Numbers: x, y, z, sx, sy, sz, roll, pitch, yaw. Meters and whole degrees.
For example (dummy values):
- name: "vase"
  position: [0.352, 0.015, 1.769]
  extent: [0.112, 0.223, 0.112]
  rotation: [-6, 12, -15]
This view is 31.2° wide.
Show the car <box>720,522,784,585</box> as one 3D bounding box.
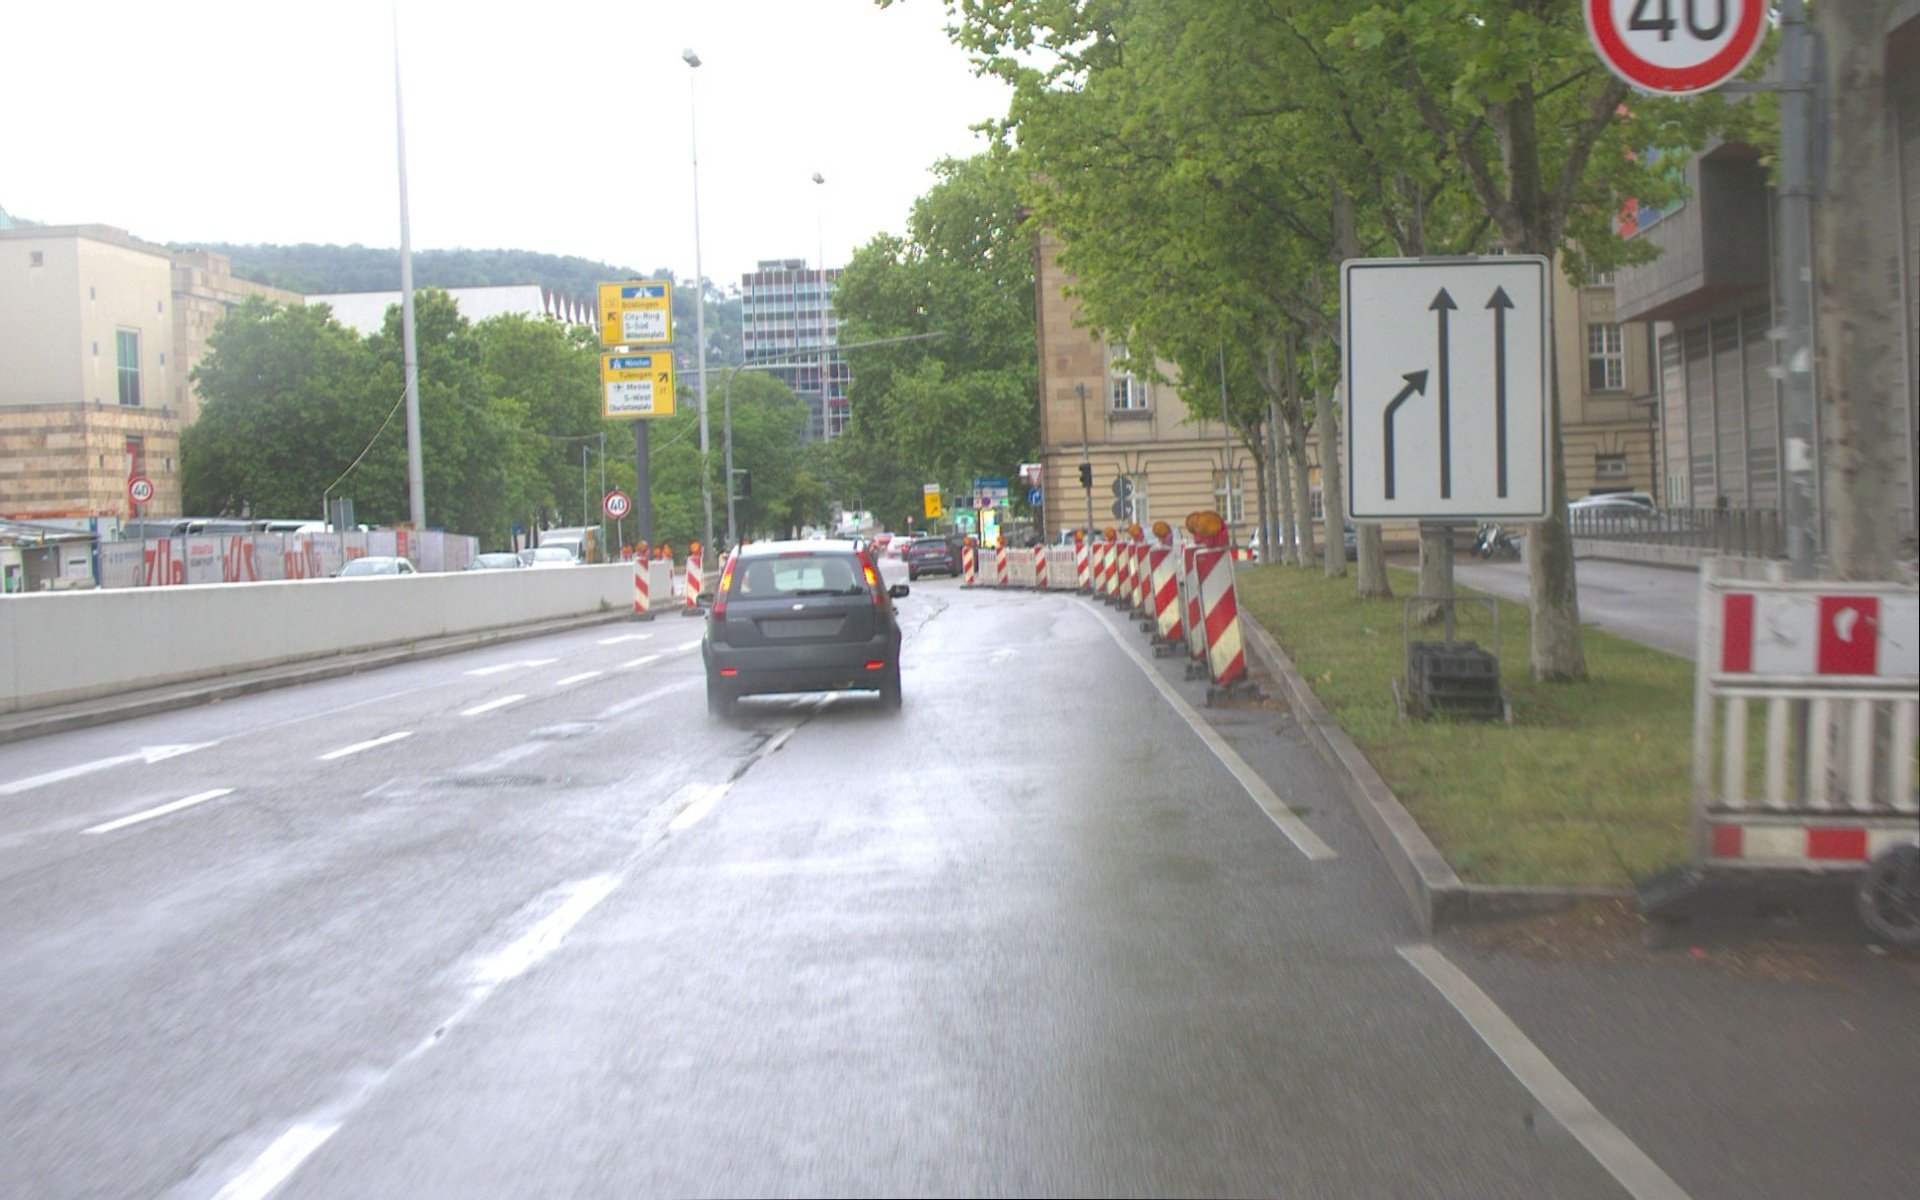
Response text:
- name: "car"
  position: [-4.860, -1.081, 80.483]
  extent: [1.385, 1.381, 3.067]
  rotation: [-3, 1, -3]

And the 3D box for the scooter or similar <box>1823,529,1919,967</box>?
- name: "scooter or similar"
  position: [3.373, 0.454, 10.380]
  extent: [1.355, 1.281, 0.619]
  rotation: [2, 0, 3]

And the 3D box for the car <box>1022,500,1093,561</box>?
- name: "car"
  position: [2.849, -2.057, 100.788]
  extent: [1.993, 1.702, 4.000]
  rotation: [-1, 2, 1]

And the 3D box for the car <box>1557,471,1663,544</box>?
- name: "car"
  position: [17.489, -2.460, 92.666]
  extent: [1.994, 1.754, 5.096]
  rotation: [-3, 0, 2]

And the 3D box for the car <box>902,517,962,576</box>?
- name: "car"
  position: [-0.990, -1.952, 124.296]
  extent: [1.993, 2.006, 4.000]
  rotation: [-1, 2, 1]

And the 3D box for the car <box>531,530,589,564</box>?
- name: "car"
  position: [-14.391, -1.908, 123.781]
  extent: [1.626, 1.191, 3.405]
  rotation: [-1, 1, 1]

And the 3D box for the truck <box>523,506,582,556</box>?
- name: "truck"
  position: [-19.967, -3.353, 168.670]
  extent: [2.413, 2.331, 5.445]
  rotation: [0, 0, -2]

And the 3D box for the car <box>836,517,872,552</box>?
- name: "car"
  position: [-6.253, -3.863, 202.876]
  extent: [1.993, 2.007, 4.000]
  rotation: [0, 0, -3]

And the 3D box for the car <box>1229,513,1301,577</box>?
- name: "car"
  position: [8.859, -1.612, 99.616]
  extent: [1.994, 1.702, 4.000]
  rotation: [-1, 2, 6]

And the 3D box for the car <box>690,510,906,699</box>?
- name: "car"
  position: [-1.399, -0.010, 29.848]
  extent: [1.670, 1.422, 3.758]
  rotation: [-4, 2, -2]

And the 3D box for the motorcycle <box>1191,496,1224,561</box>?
- name: "motorcycle"
  position: [7.226, -2.100, 100.194]
  extent: [0.831, 1.823, 3.143]
  rotation: [-2, 1, 5]

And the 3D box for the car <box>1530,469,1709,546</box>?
- name: "car"
  position: [16.226, -2.260, 84.761]
  extent: [3.987, 1.554, 1.933]
  rotation: [-4, -1, 2]

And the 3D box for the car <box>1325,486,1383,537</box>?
- name: "car"
  position: [13.854, -3.107, 121.034]
  extent: [1.994, 1.703, 3.999]
  rotation: [-1, 0, 6]
